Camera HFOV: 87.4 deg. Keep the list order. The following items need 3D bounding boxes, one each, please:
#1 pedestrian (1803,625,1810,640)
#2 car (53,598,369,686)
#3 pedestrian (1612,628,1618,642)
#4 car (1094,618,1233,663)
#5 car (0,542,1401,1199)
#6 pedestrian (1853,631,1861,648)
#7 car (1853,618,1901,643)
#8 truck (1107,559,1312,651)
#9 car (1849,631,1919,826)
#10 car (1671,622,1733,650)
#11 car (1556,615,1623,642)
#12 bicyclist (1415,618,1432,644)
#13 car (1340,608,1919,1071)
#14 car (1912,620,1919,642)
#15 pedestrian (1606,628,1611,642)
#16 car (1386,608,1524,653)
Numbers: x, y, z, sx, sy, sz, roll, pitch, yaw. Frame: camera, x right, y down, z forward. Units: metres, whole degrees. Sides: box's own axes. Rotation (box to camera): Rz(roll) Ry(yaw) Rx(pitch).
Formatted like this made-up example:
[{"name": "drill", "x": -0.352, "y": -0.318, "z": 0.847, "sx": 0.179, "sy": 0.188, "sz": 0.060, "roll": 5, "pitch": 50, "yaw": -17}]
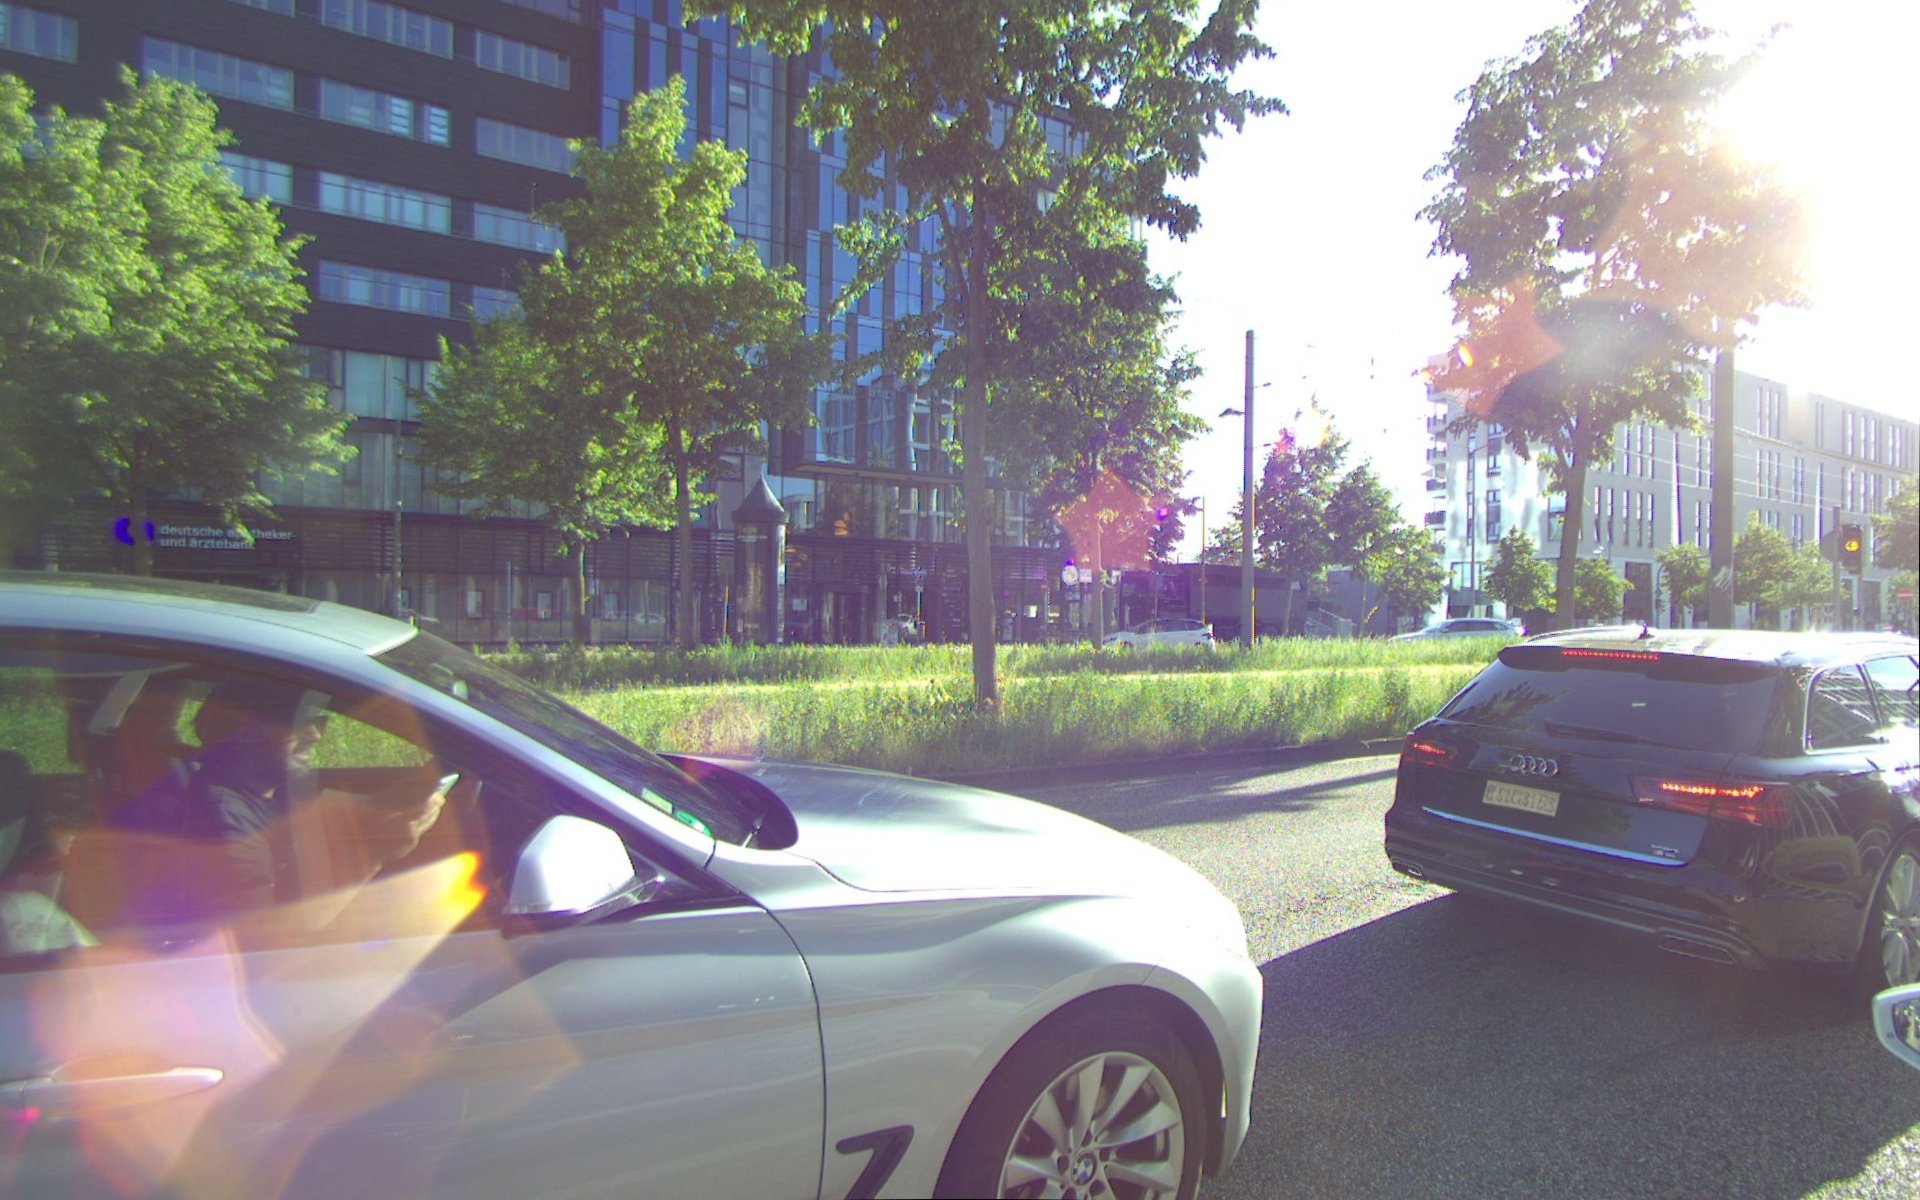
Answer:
[{"name": "pedestrian", "x": 79.951, "y": 3.060, "z": 94.867, "sx": 0.455, "sy": 1.457, "sz": 0.388, "roll": 1, "pitch": 0, "yaw": 27}, {"name": "car", "x": -13.758, "y": 0.746, "z": 18.774, "sx": 4.524, "sy": 1.467, "sz": 1.787, "roll": 1, "pitch": -1, "yaw": -36}, {"name": "pedestrian", "x": 51.766, "y": 2.777, "z": 79.383, "sx": 0.286, "sy": 1.100, "sz": 0.252, "roll": 1, "pitch": 0, "yaw": -30}, {"name": "car", "x": 7.038, "y": 1.386, "z": 35.041, "sx": 4.478, "sy": 1.467, "sz": 1.805, "roll": 1, "pitch": -1, "yaw": 1}, {"name": "car", "x": -1.319, "y": 0.696, "z": 2.037, "sx": 4.509, "sy": 1.504, "sz": 1.810, "roll": 1, "pitch": -1, "yaw": -31}, {"name": "pedestrian", "x": 94.991, "y": 4.221, "z": 106.359, "sx": 0.474, "sy": 1.767, "sz": 0.466, "roll": 1, "pitch": 0, "yaw": -30}, {"name": "car", "x": 78.098, "y": 2.589, "z": 85.522, "sx": 3.953, "sy": 2.040, "sz": 1.984, "roll": 1, "pitch": -1, "yaw": -30}, {"name": "truck", "x": 11.698, "y": 0.298, "z": 46.493, "sx": 10.094, "sy": 3.904, "sz": 2.877, "roll": 1, "pitch": -1, "yaw": -31}, {"name": "car", "x": 9.293, "y": 1.011, "z": 8.195, "sx": 4.288, "sy": 1.445, "sz": 1.833, "roll": 1, "pitch": -1, "yaw": -30}, {"name": "car", "x": 51.471, "y": 2.510, "z": 69.675, "sx": 4.319, "sy": 1.838, "sz": 1.984, "roll": 1, "pitch": -1, "yaw": -30}, {"name": "car", "x": 37.533, "y": 1.683, "z": 59.900, "sx": 3.953, "sy": 1.540, "sz": 1.756, "roll": 1, "pitch": -1, "yaw": -30}, {"name": "bicyclist", "x": 28.962, "y": 1.935, "z": 62.763, "sx": 0.706, "sy": 1.549, "sz": 0.674, "roll": 1, "pitch": 0, "yaw": -30}, {"name": "car", "x": 4.418, "y": 0.835, "z": 5.369, "sx": 4.911, "sy": 1.504, "sz": 1.864, "roll": 1, "pitch": -1, "yaw": -32}, {"name": "car", "x": 90.297, "y": 2.875, "z": 93.137, "sx": 3.953, "sy": 2.040, "sz": 1.984, "roll": 1, "pitch": -1, "yaw": -30}, {"name": "pedestrian", "x": 51.445, "y": 2.751, "z": 79.671, "sx": 0.257, "sy": 1.100, "sz": 0.252, "roll": 1, "pitch": 0, "yaw": -30}, {"name": "car", "x": 17.614, "y": 1.077, "z": 35.845, "sx": 4.131, "sy": 1.512, "sz": 1.520, "roll": 1, "pitch": -1, "yaw": 4}]
